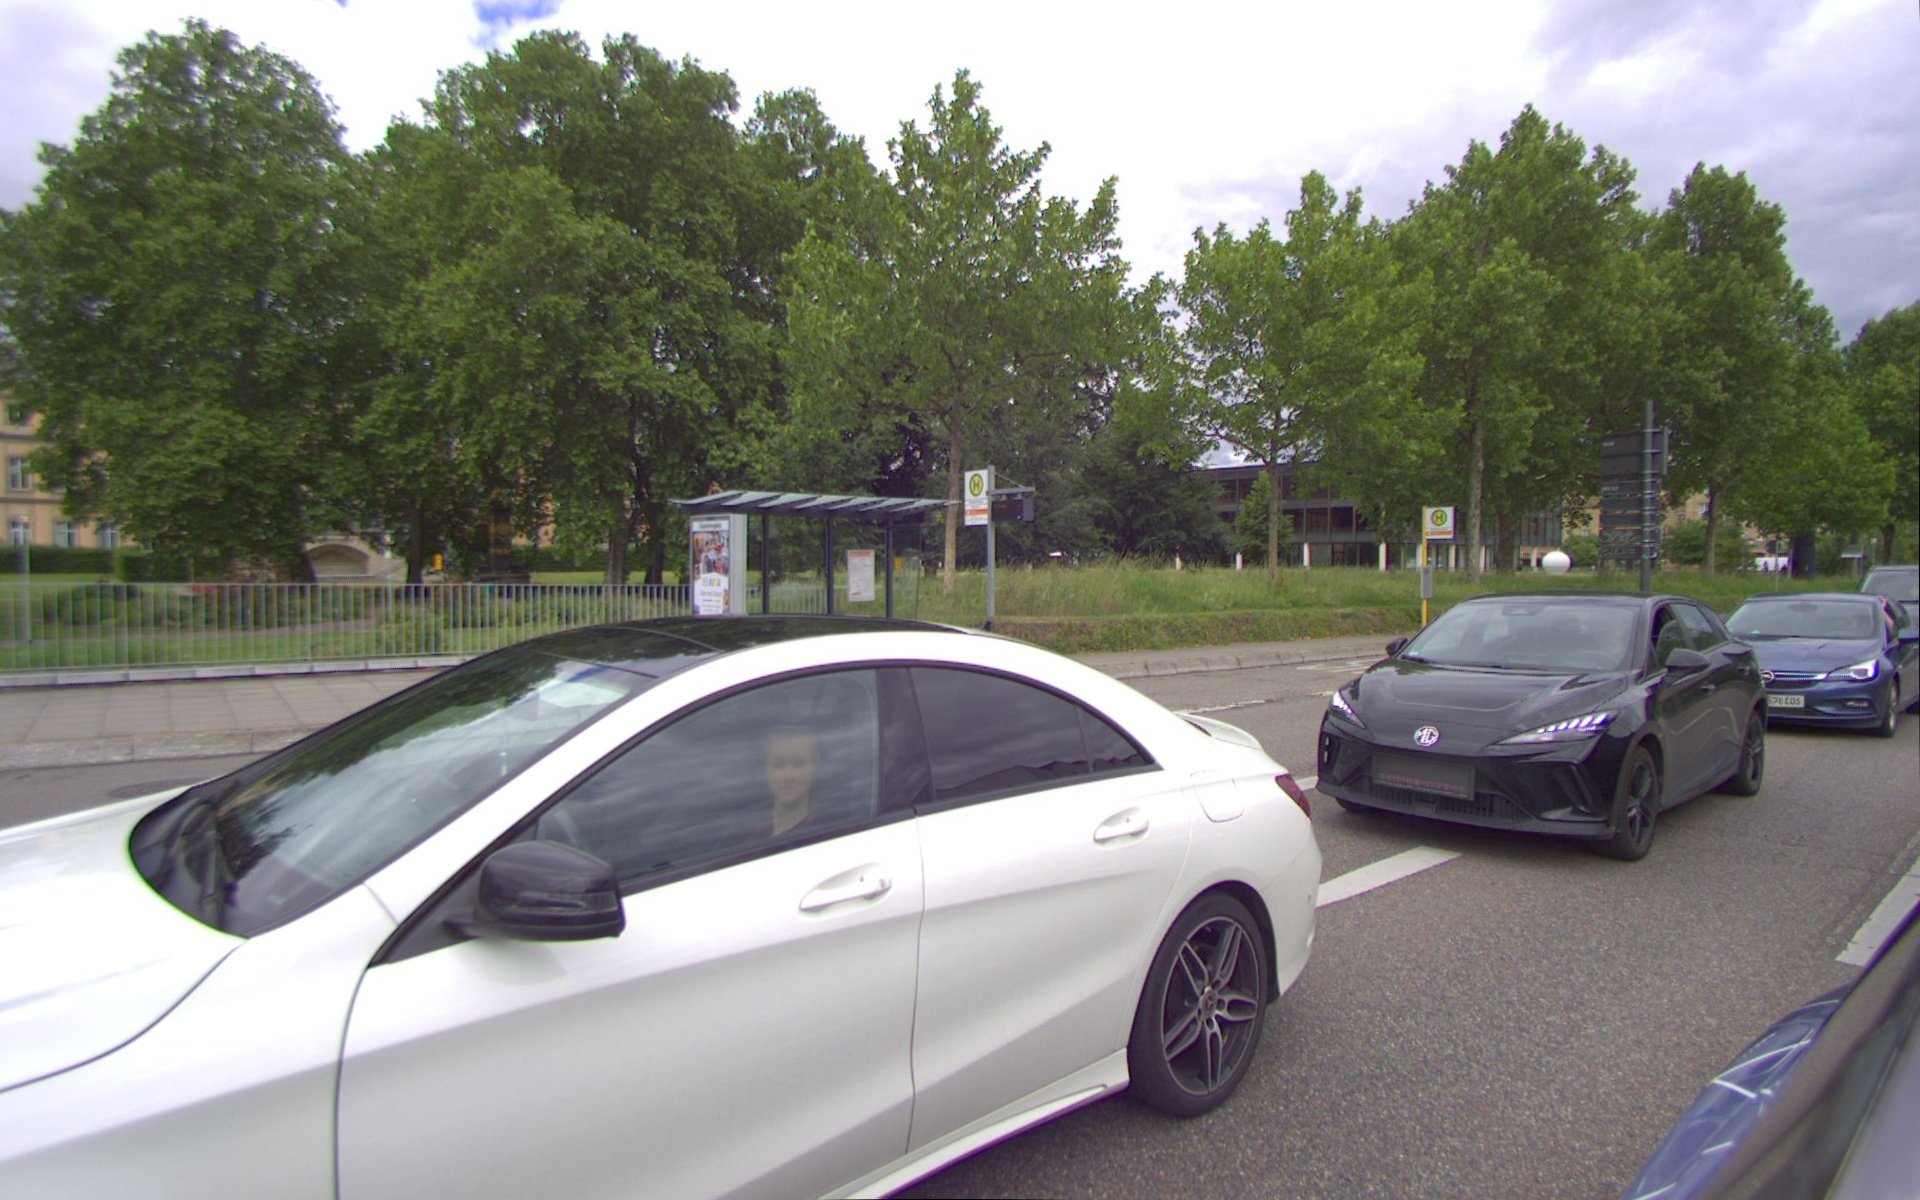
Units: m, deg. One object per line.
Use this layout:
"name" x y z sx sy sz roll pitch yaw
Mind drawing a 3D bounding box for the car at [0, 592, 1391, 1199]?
"car" -0.723 0.721 2.747 4.427 1.441 1.722 -1 1 -41

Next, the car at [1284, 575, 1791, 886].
"car" 4.176 0.635 7.043 4.047 1.543 1.828 0 0 -41

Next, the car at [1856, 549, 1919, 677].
"car" 15.817 0.167 16.135 4.353 1.885 1.722 -1 1 -41

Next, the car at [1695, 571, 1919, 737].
"car" 9.784 0.477 11.360 3.930 1.556 1.572 -1 1 -40
